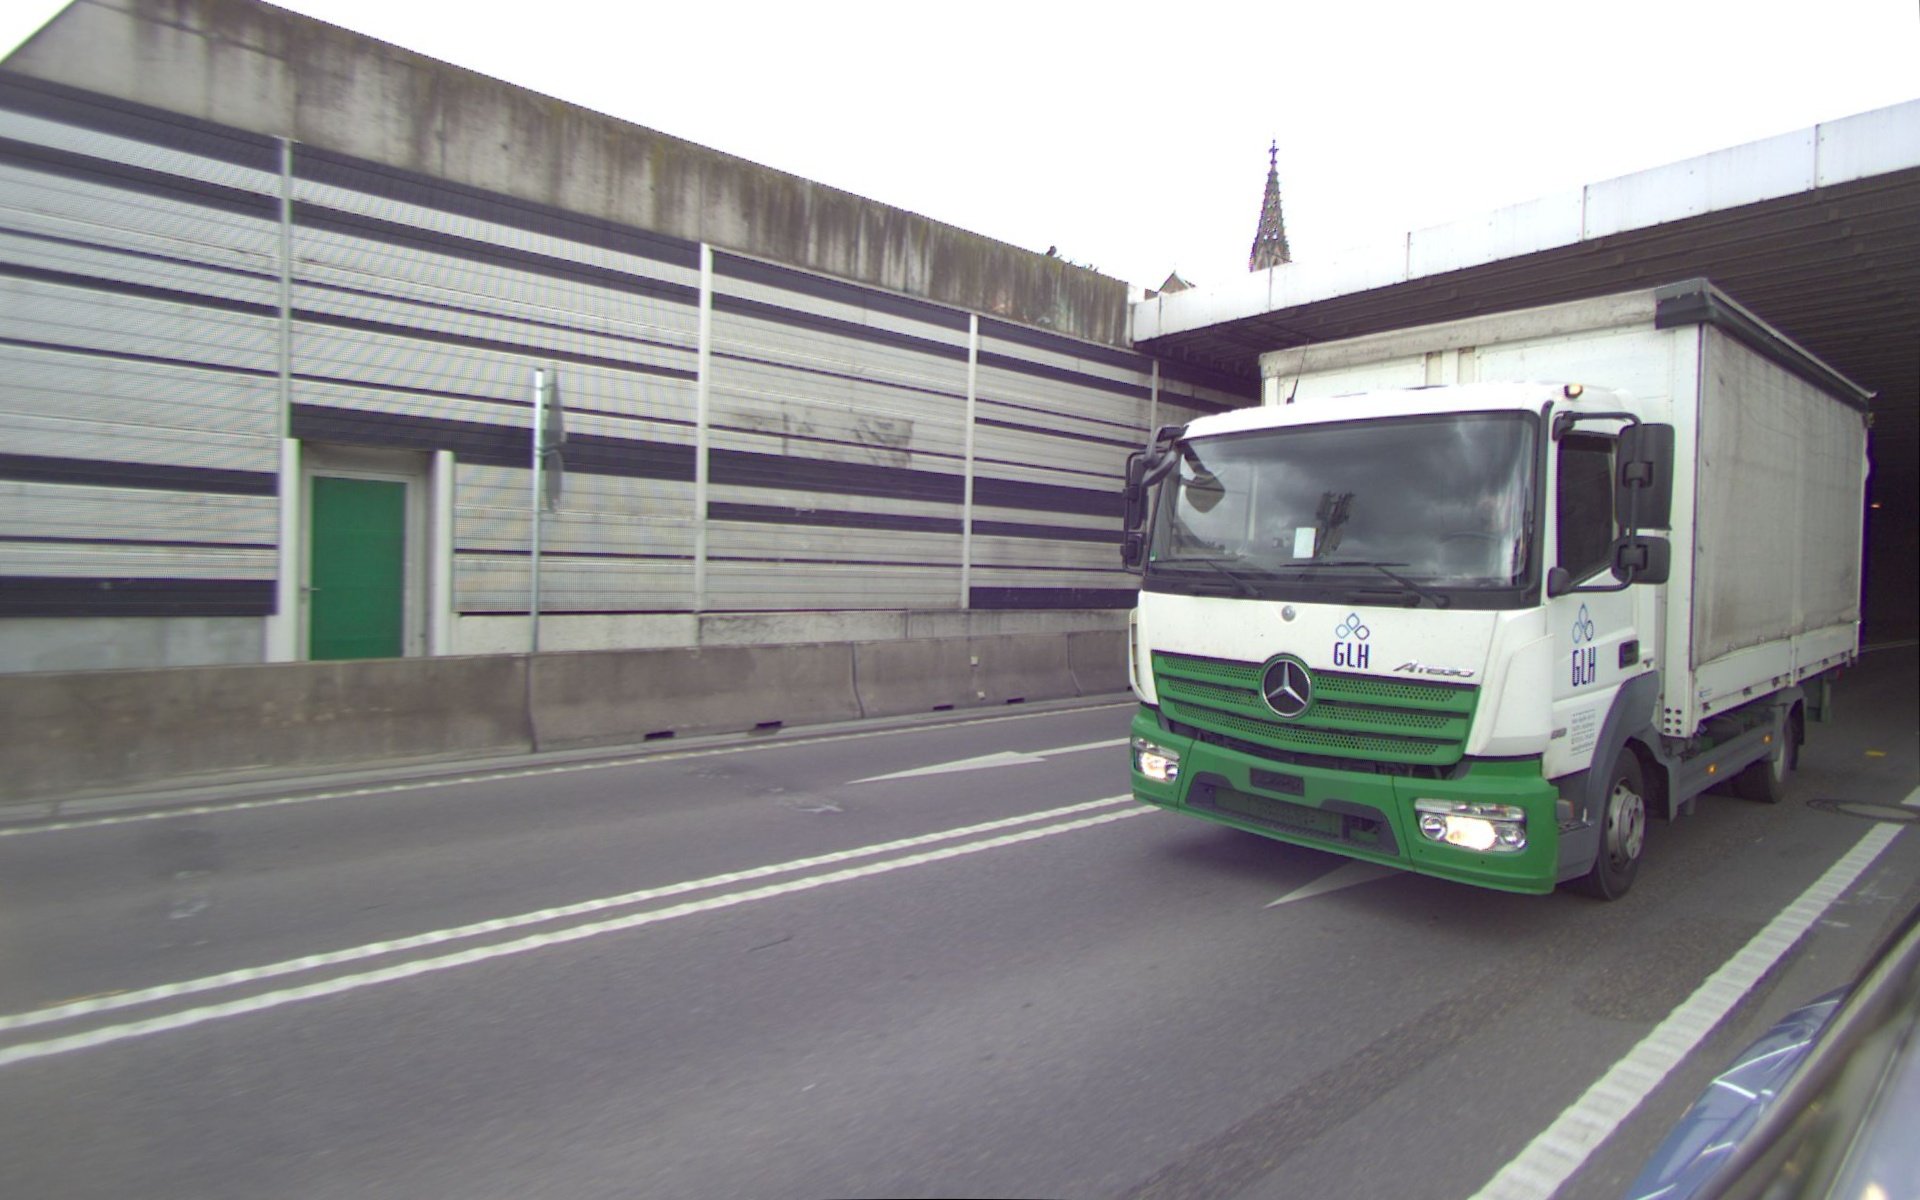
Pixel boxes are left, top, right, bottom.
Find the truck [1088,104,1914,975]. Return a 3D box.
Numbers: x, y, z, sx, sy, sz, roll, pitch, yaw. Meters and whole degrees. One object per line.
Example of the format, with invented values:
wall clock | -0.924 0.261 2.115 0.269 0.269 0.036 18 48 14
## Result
truck | 4.378 -0.276 7.187 7.284 3.279 2.635 0 1 -40
